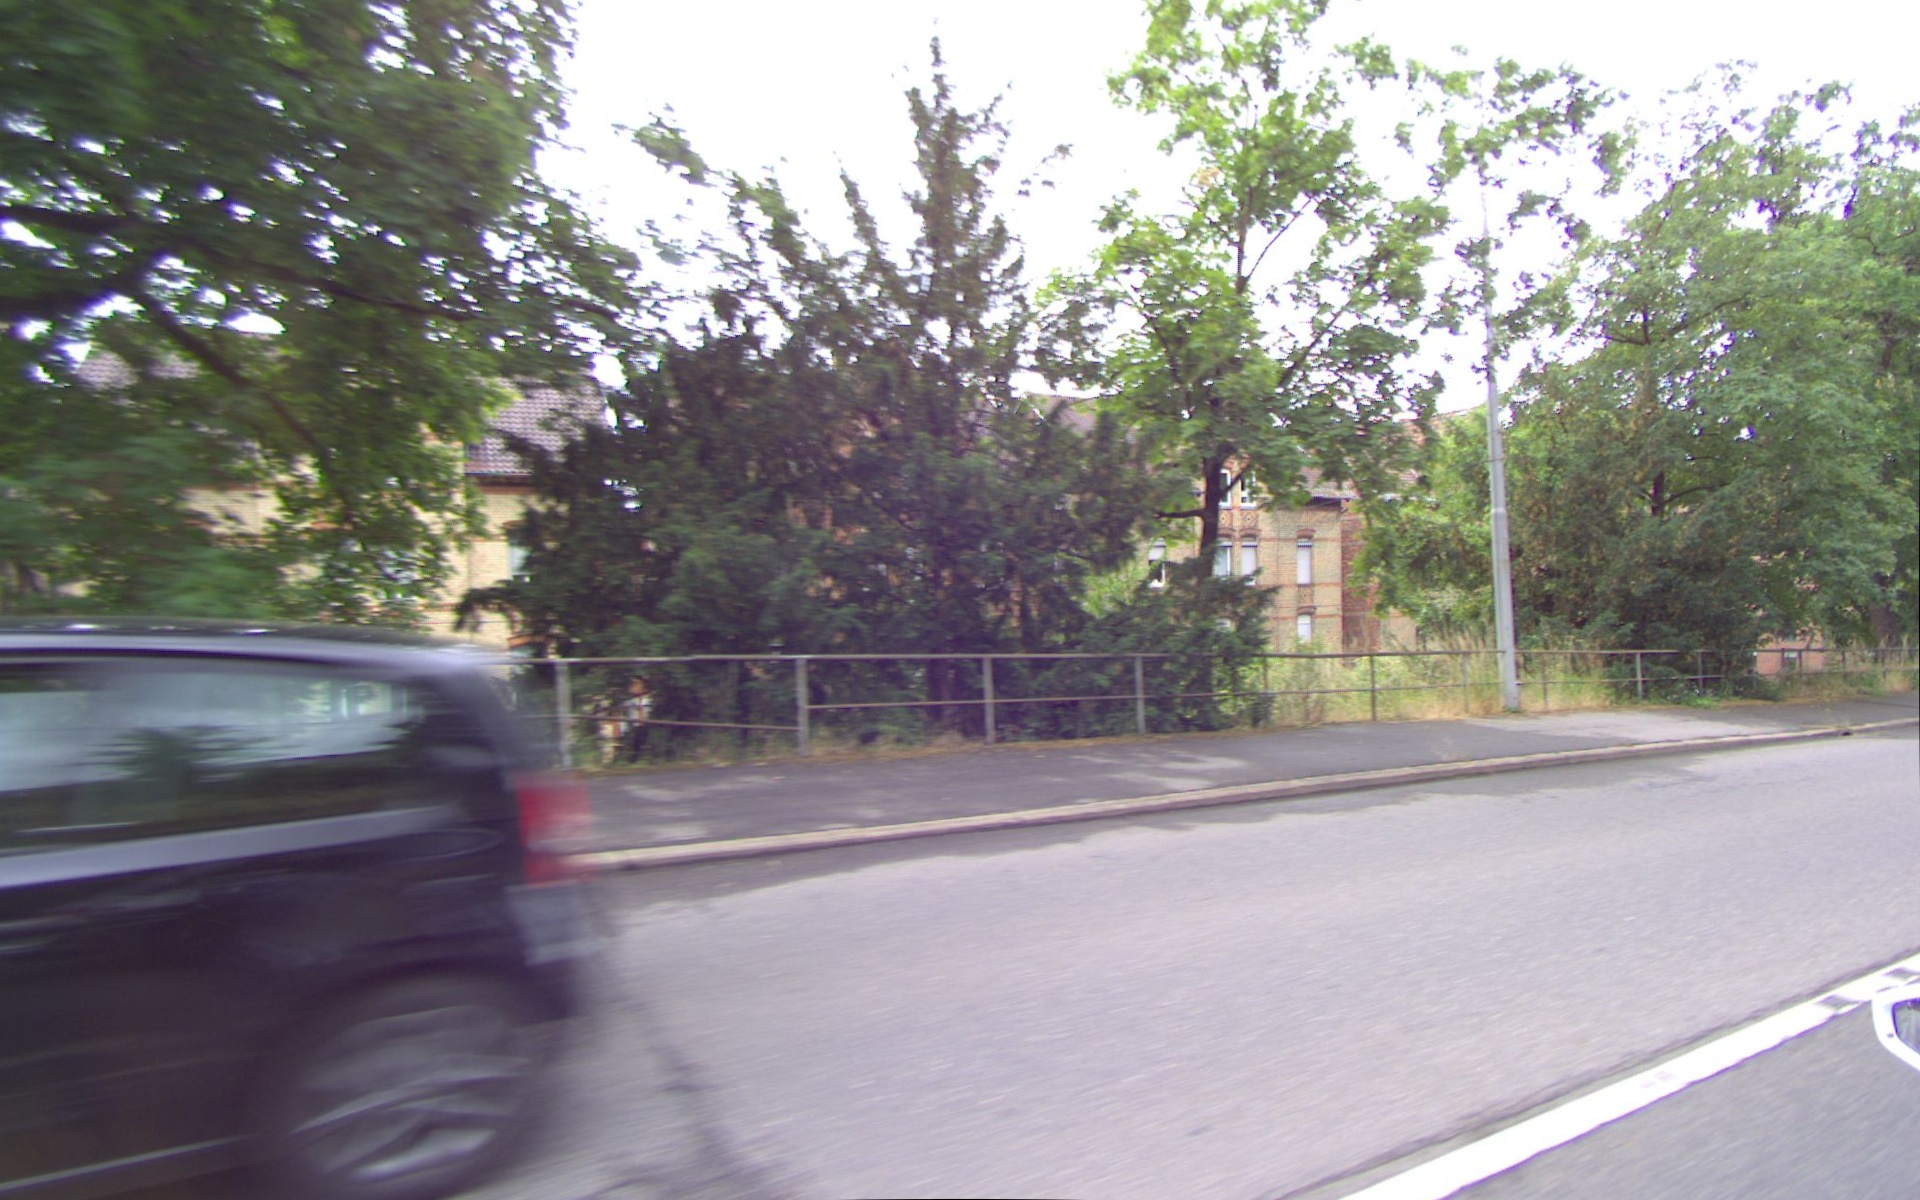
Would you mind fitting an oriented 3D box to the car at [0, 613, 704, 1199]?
[{"bbox_3d":[-2.696,0.767,2.591,3.644,1.466,1.661,1,-2,-30],"label":"car"}]
